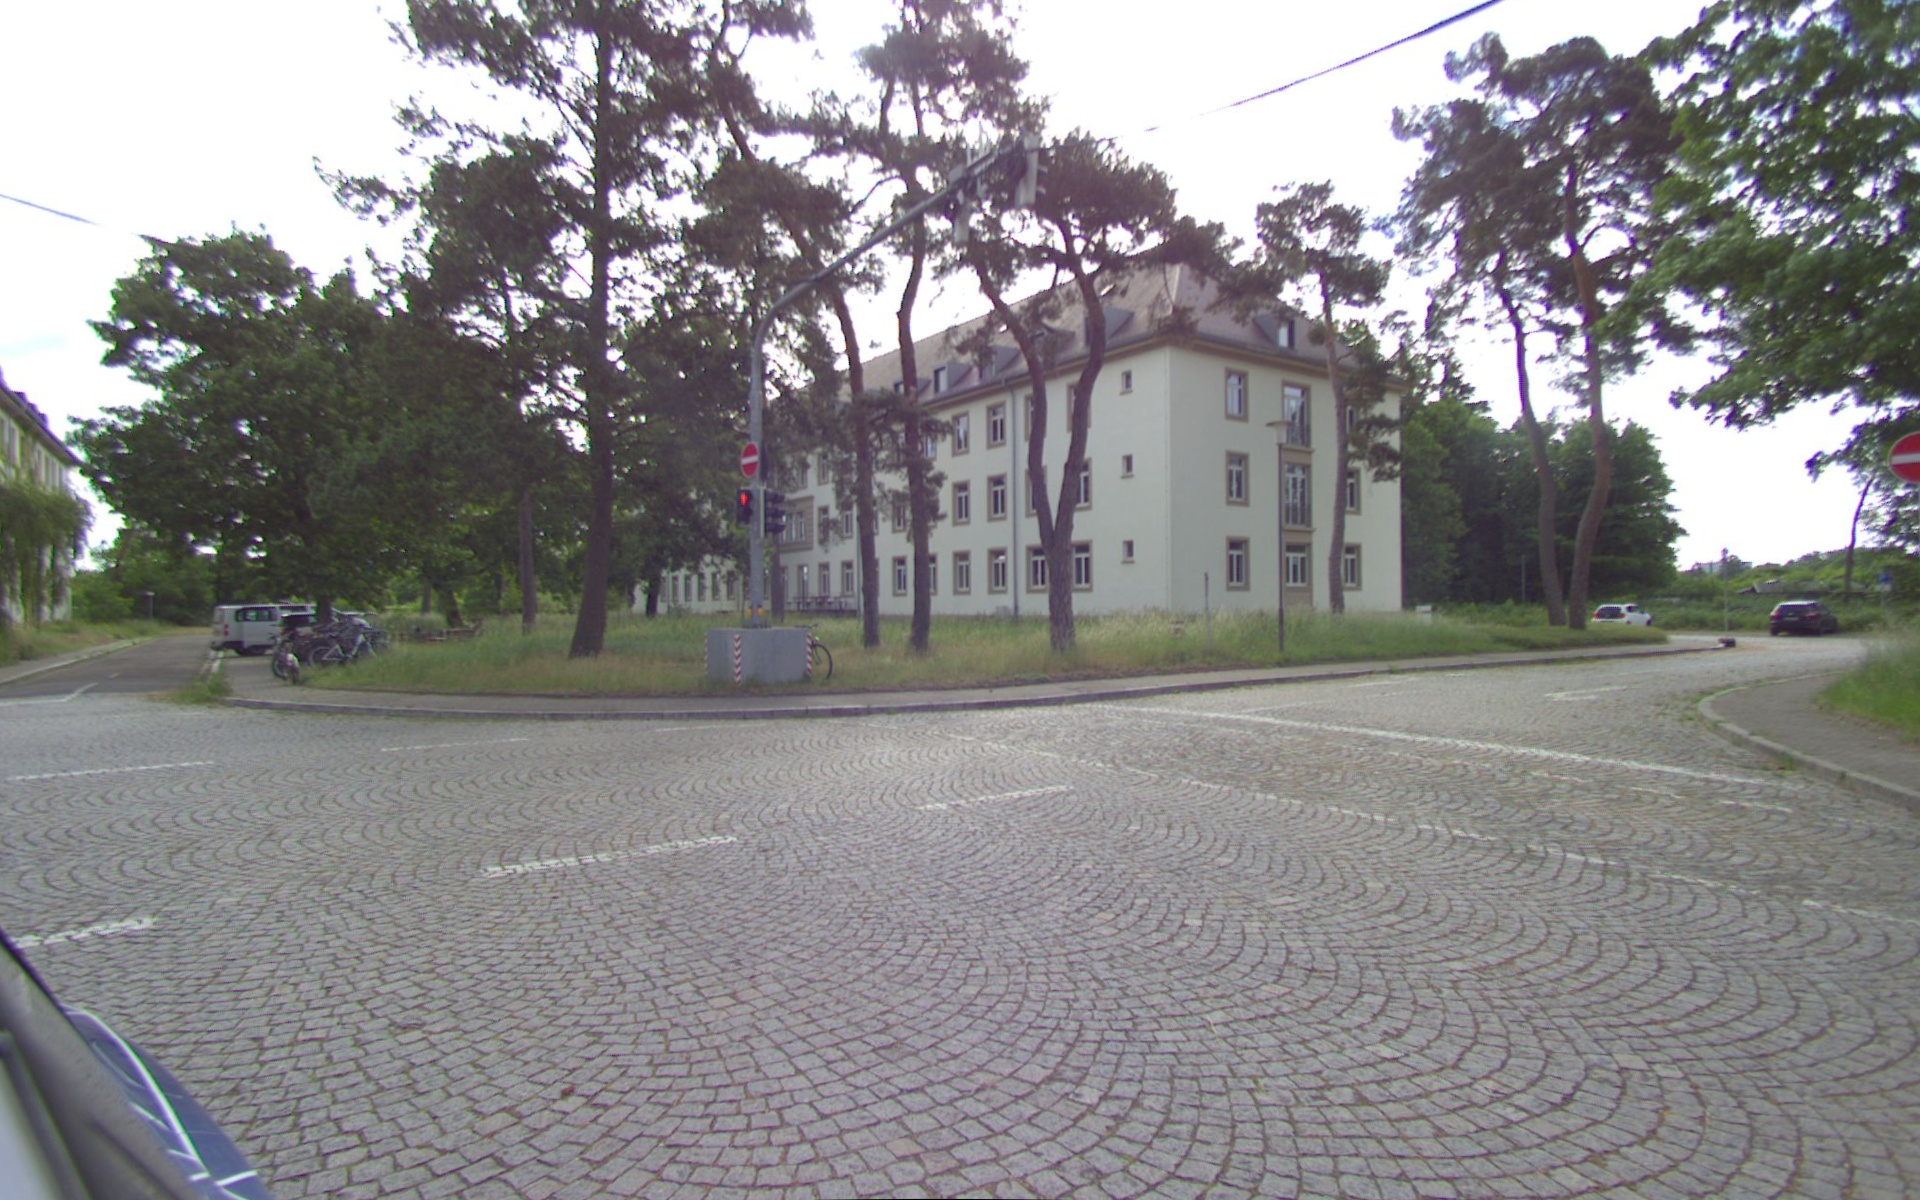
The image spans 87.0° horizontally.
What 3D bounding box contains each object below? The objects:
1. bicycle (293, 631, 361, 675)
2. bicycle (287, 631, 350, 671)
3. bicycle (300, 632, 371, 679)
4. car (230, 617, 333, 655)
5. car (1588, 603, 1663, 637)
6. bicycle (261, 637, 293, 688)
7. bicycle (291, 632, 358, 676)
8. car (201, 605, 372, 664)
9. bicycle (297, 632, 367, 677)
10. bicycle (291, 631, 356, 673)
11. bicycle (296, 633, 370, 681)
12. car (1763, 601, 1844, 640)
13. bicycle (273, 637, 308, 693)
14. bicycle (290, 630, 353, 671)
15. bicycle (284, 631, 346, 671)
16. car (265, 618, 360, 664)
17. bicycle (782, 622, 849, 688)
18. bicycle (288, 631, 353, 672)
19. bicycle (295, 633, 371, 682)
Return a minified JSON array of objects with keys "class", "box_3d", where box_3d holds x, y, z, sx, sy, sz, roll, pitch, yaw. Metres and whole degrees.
[{"class":"bicycle","box_3d":[-16.818,1.401,26.901,1.435,1.046,0.498,-4,2,-41]},{"class":"bicycle","box_3d":[-18.658,1.470,29.444,1.435,1.046,0.498,-4,2,-41]},{"class":"bicycle","box_3d":[-15.990,1.406,25.922,1.435,1.046,0.498,-4,2,-41]},{"class":"car","box_3d":[-33.888,1.779,50.595,4.032,1.733,1.861,0,1,-44]},{"class":"car","box_3d":[34.156,1.004,51.914,3.989,1.622,1.722,-1,1,-32]},{"class":"bicycle","box_3d":[-15.193,1.376,22.505,0.490,1.046,1.420,-3,1,-36]},{"class":"bicycle","box_3d":[-17.119,1.437,27.262,1.435,1.046,0.498,-4,2,-41]},{"class":"car","box_3d":[-25.814,1.293,38.962,2.035,1.931,5.102,-2,0,40]},{"class":"bicycle","box_3d":[-16.357,1.407,26.380,1.435,1.046,0.498,-4,2,-41]},{"class":"bicycle","box_3d":[-17.731,1.440,28.211,1.435,1.046,0.498,-4,2,-41]},{"class":"bicycle","box_3d":[-15.484,1.385,25.008,1.435,1.046,0.498,-4,2,-41]},{"class":"car","box_3d":[37.938,0.865,45.487,3.990,1.622,1.721,-1,1,-34]},{"class":"bicycle","box_3d":[-14.101,1.354,21.310,0.490,1.082,1.420,-3,1,-36]},{"class":"bicycle","box_3d":[-18.314,1.450,29.049,1.435,1.046,0.498,-4,2,-41]},{"class":"bicycle","box_3d":[-18.981,1.482,29.797,1.435,1.046,0.498,-4,2,-41]},{"class":"car","box_3d":[-23.396,1.452,36.579,2.728,1.426,1.595,-3,1,-37]},{"class":"bicycle","box_3d":[-2.606,0.964,18.149,0.490,1.082,1.419,-3,1,-39]},{"class":"bicycle","box_3d":[-18.052,1.440,28.585,1.435,1.046,0.498,-4,2,-41]},{"class":"bicycle","box_3d":[-15.066,1.359,24.326,1.436,1.046,0.498,-4,2,-44]}]
